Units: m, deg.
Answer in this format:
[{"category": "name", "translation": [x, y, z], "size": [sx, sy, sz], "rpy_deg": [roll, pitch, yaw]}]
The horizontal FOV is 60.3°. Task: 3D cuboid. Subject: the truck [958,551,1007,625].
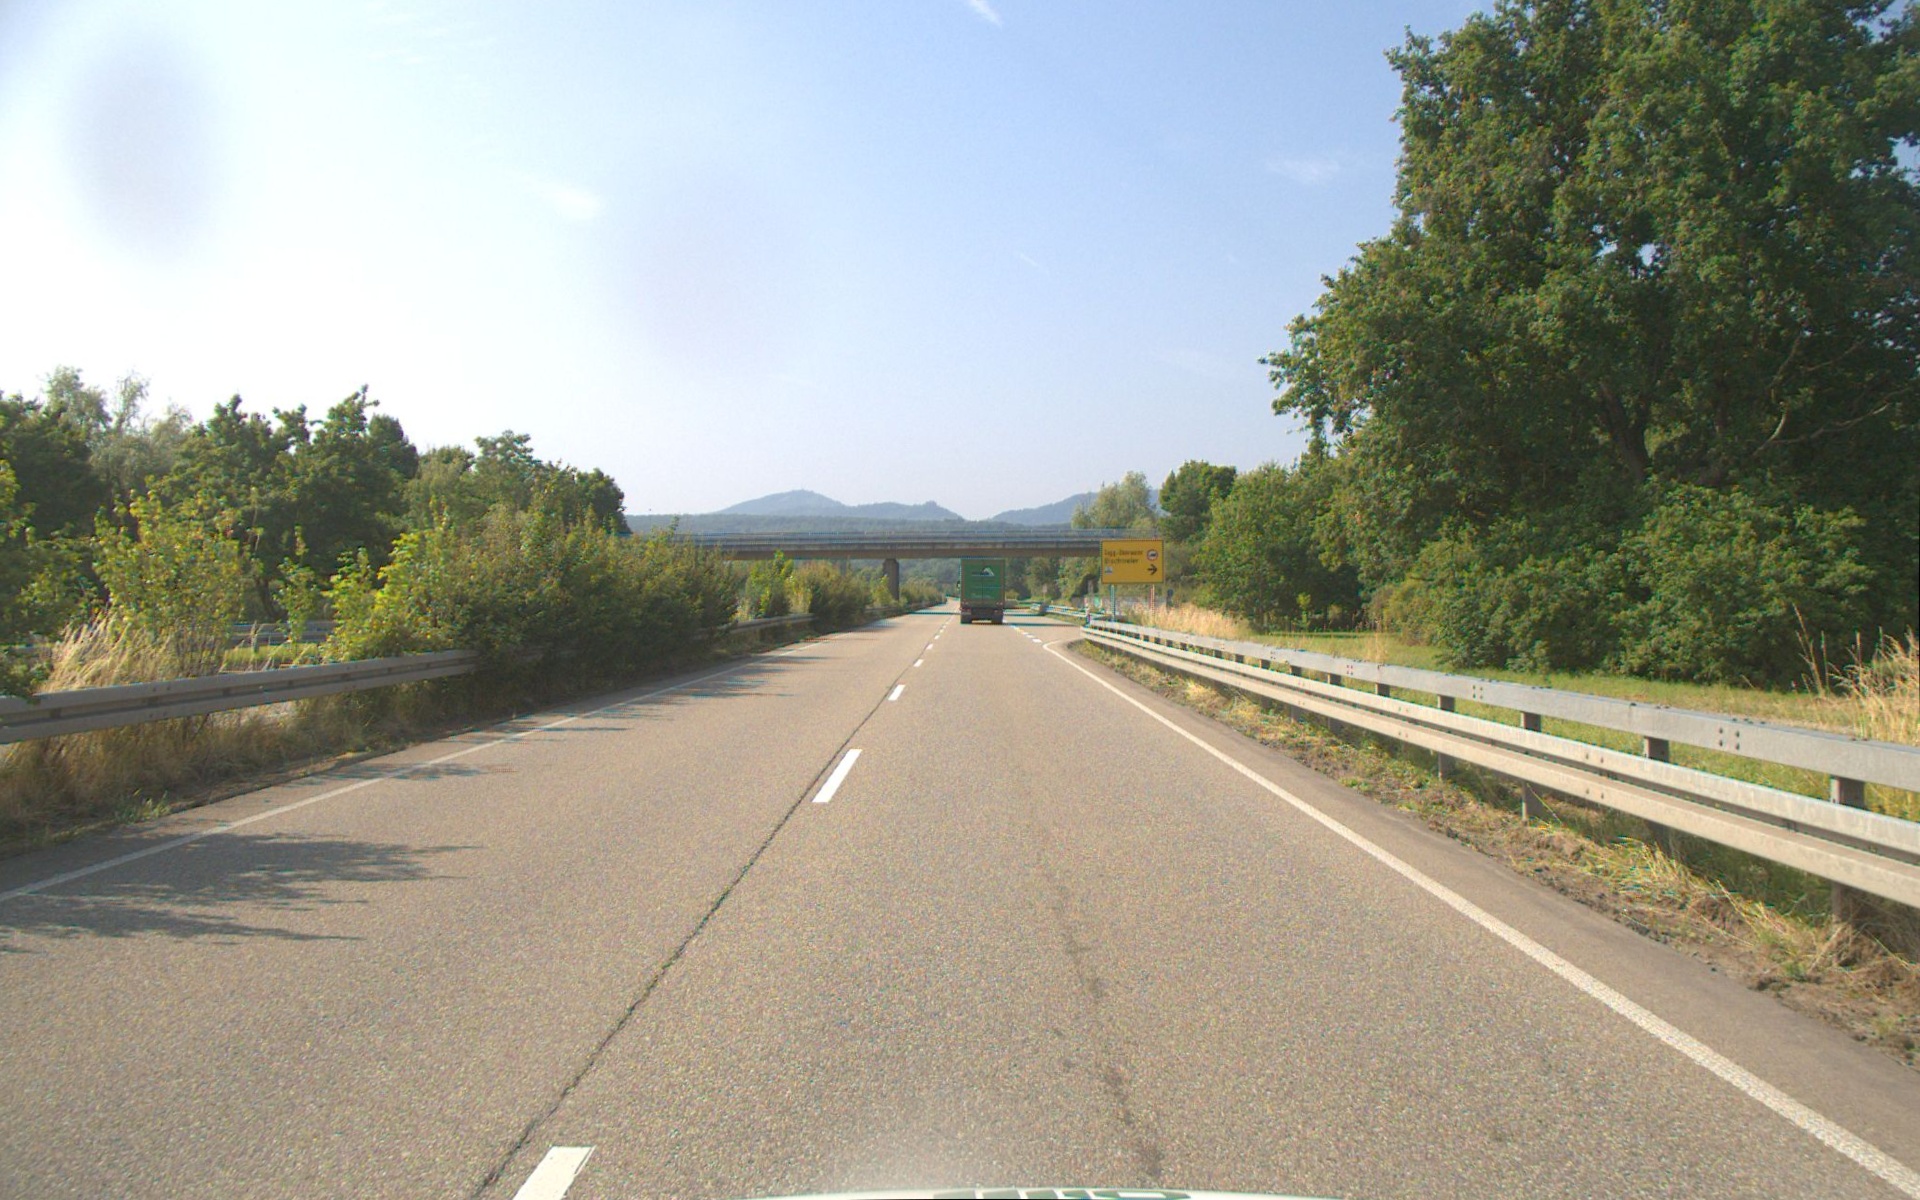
[{"category": "truck", "translation": [1.305, -0.808, 97.491], "size": [2.666, 4.034, 10.417], "rpy_deg": [1, 1, 1]}]
